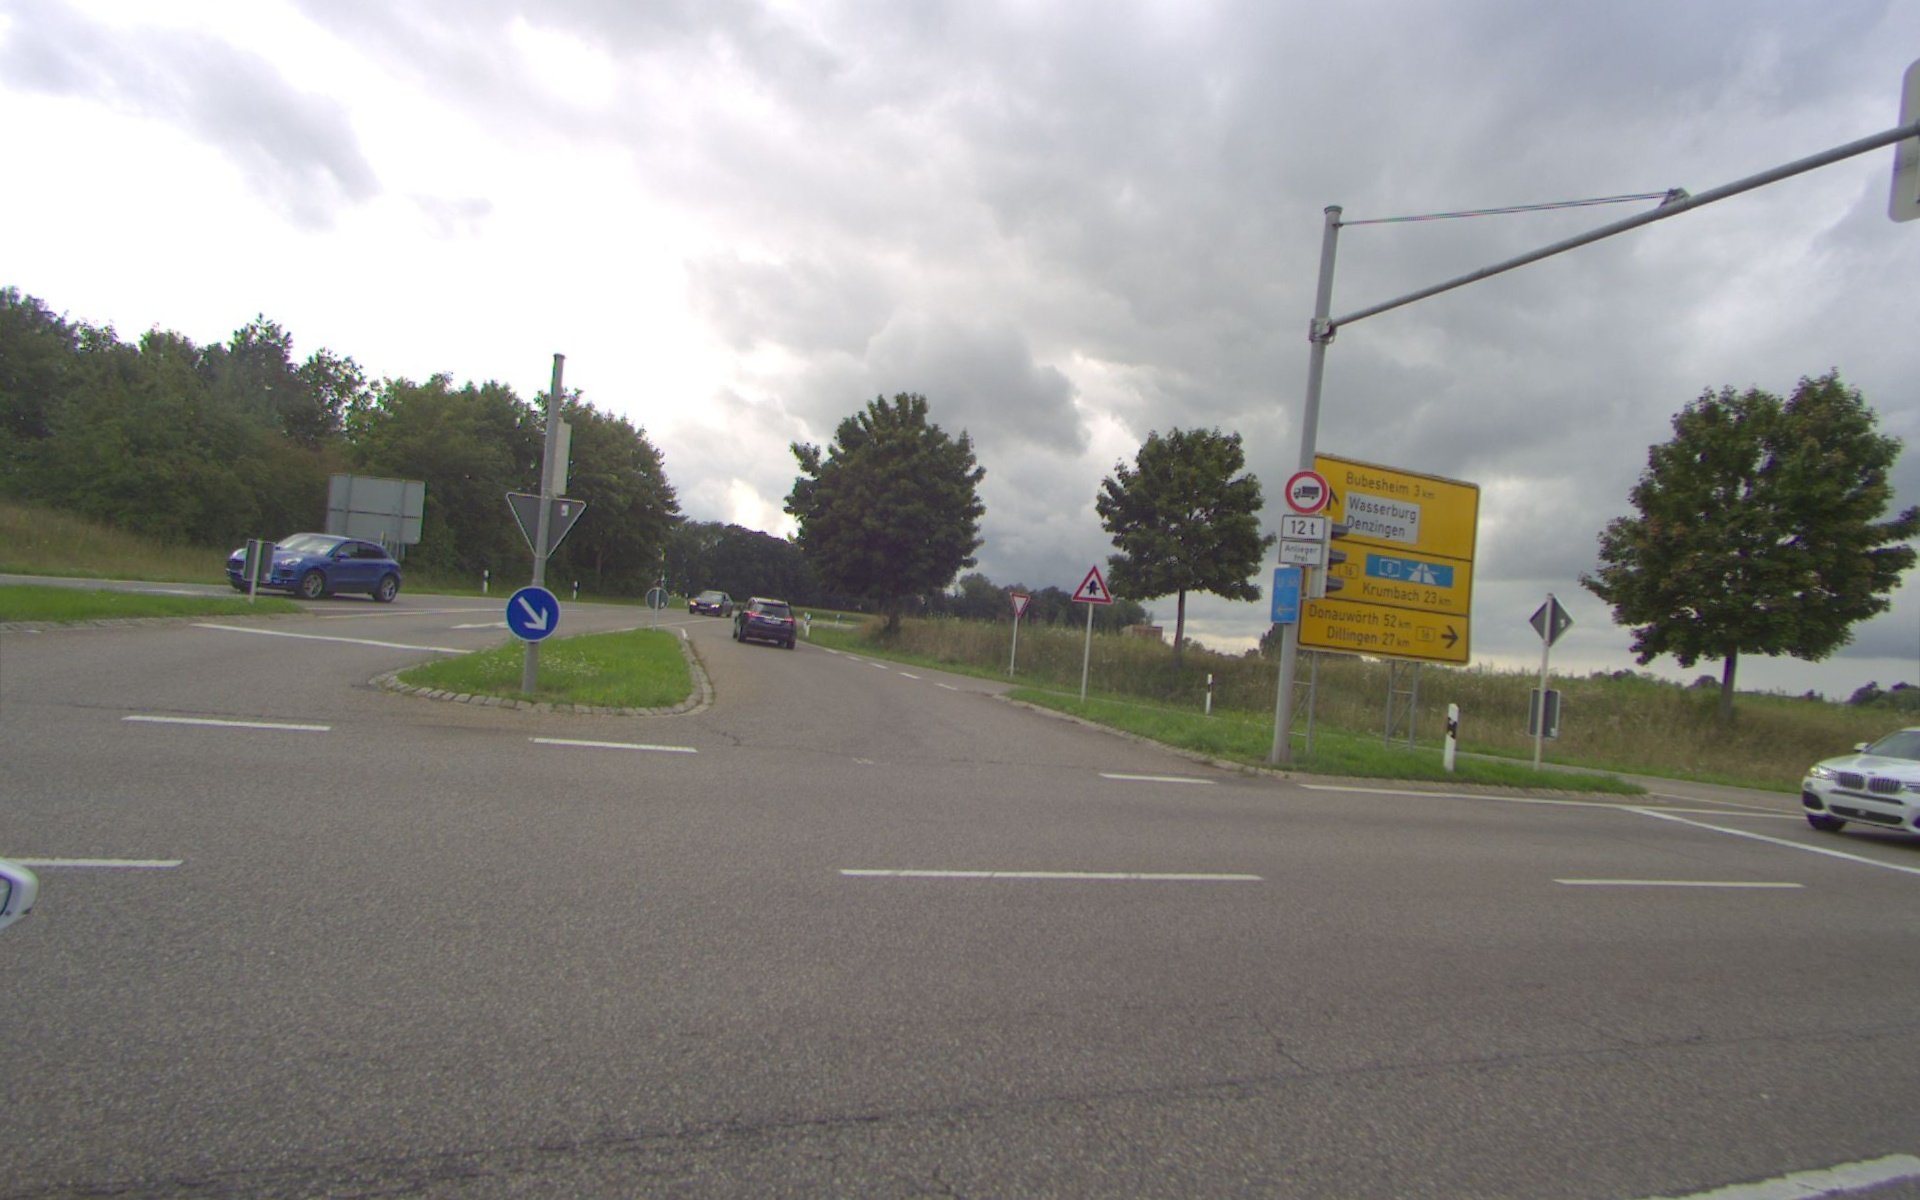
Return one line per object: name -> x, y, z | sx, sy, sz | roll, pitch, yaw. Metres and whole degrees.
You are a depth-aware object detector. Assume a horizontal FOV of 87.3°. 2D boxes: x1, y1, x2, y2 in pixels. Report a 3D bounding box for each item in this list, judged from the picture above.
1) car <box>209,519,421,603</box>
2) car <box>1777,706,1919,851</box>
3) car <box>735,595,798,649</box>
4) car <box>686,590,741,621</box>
car -> -16.270, -0.914, 25.753 | 1.962, 1.589, 4.760 | 6, -1, 5
car -> 13.848, 2.566, 14.009 | 4.218, 1.648, 1.990 | 7, -1, -23
car -> -6.403, 0.664, 33.111 | 1.784, 1.468, 4.264 | 7, -1, -12
car -> -14.588, 0.356, 59.862 | 1.963, 1.521, 4.669 | 6, -1, 0
